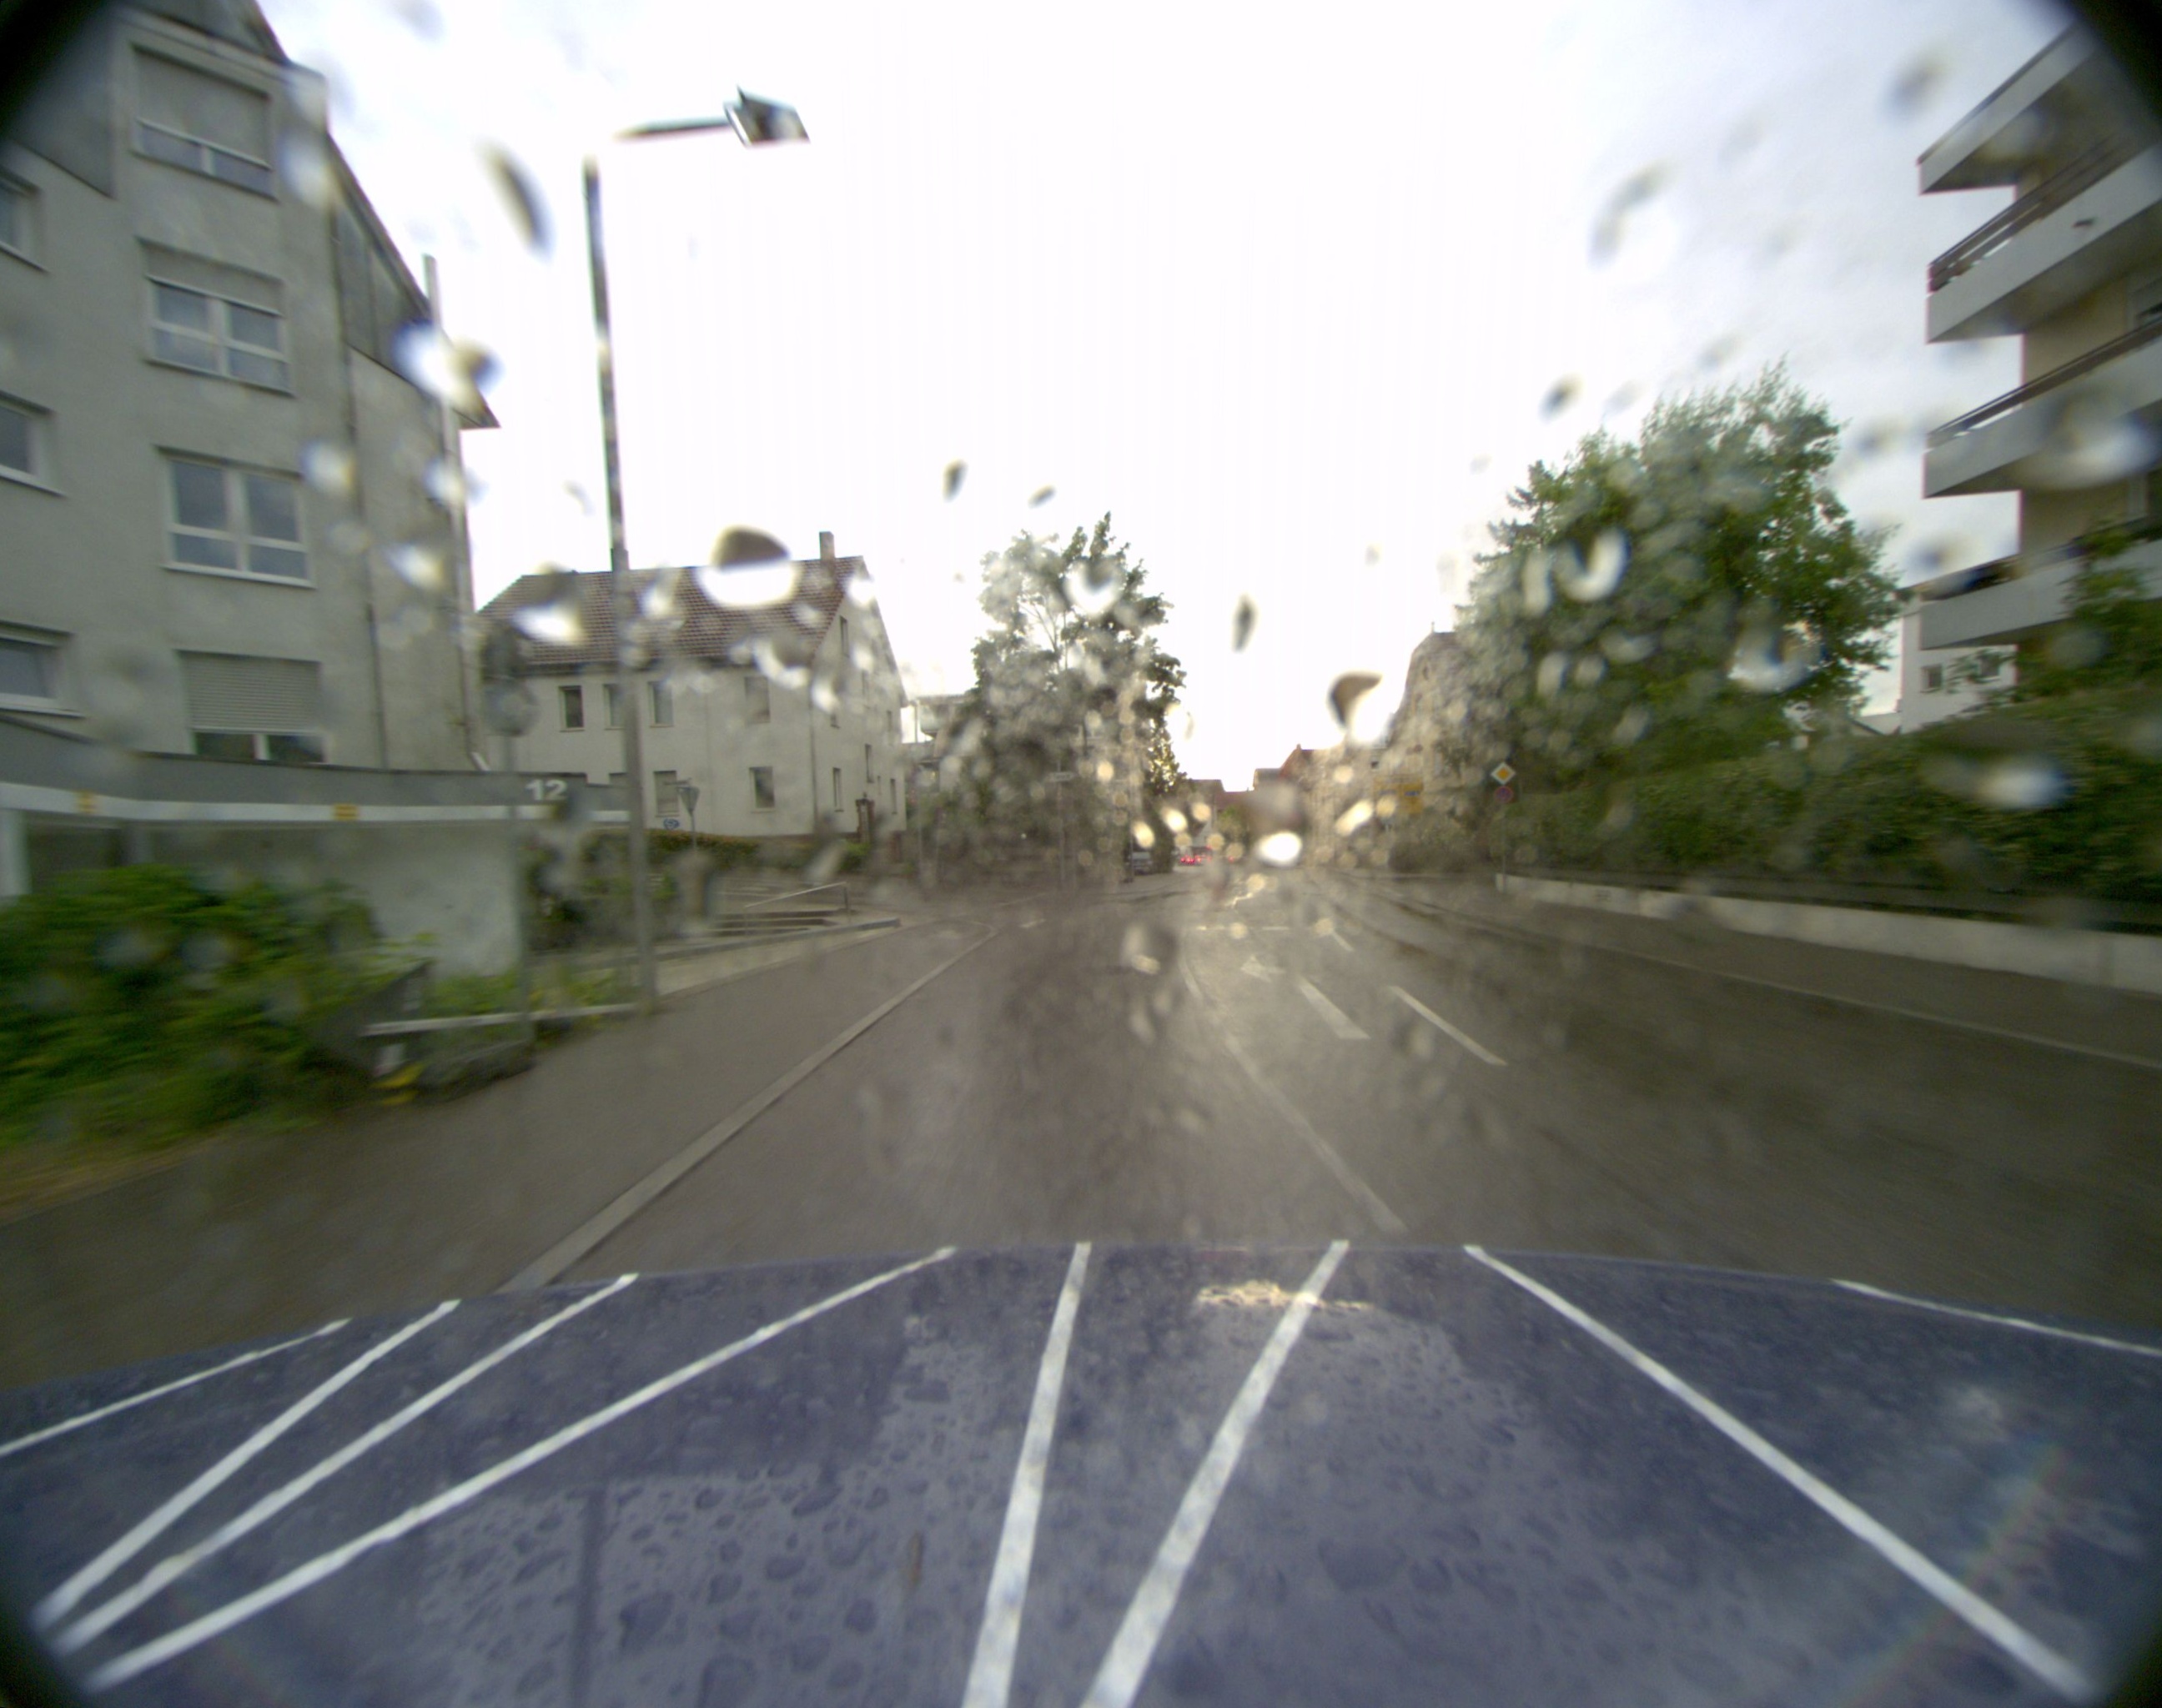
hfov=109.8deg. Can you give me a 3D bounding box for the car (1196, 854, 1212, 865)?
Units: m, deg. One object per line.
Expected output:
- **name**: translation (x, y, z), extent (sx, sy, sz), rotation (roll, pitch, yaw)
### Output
- **car**: translation (17.127, 0.752, 105.567), extent (1.803, 1.431, 4.691), rotation (-2, 0, 5)

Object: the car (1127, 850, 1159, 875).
- **car**: translation (4.193, 0.542, 50.911), extent (1.784, 1.561, 4.731), rotation (-3, 0, 8)

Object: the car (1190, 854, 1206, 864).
- **car**: translation (17.479, 0.815, 113.719), extent (1.803, 1.431, 4.690), rotation (-2, 0, 3)

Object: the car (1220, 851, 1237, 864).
- **car**: translation (19.877, 0.429, 102.668), extent (1.749, 1.562, 3.814), rotation (-5, 0, 5)

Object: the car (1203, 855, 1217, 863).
- **car**: translation (21.398, 0.864, 126.545), extent (1.741, 1.346, 4.061), rotation (-2, 0, 2)
